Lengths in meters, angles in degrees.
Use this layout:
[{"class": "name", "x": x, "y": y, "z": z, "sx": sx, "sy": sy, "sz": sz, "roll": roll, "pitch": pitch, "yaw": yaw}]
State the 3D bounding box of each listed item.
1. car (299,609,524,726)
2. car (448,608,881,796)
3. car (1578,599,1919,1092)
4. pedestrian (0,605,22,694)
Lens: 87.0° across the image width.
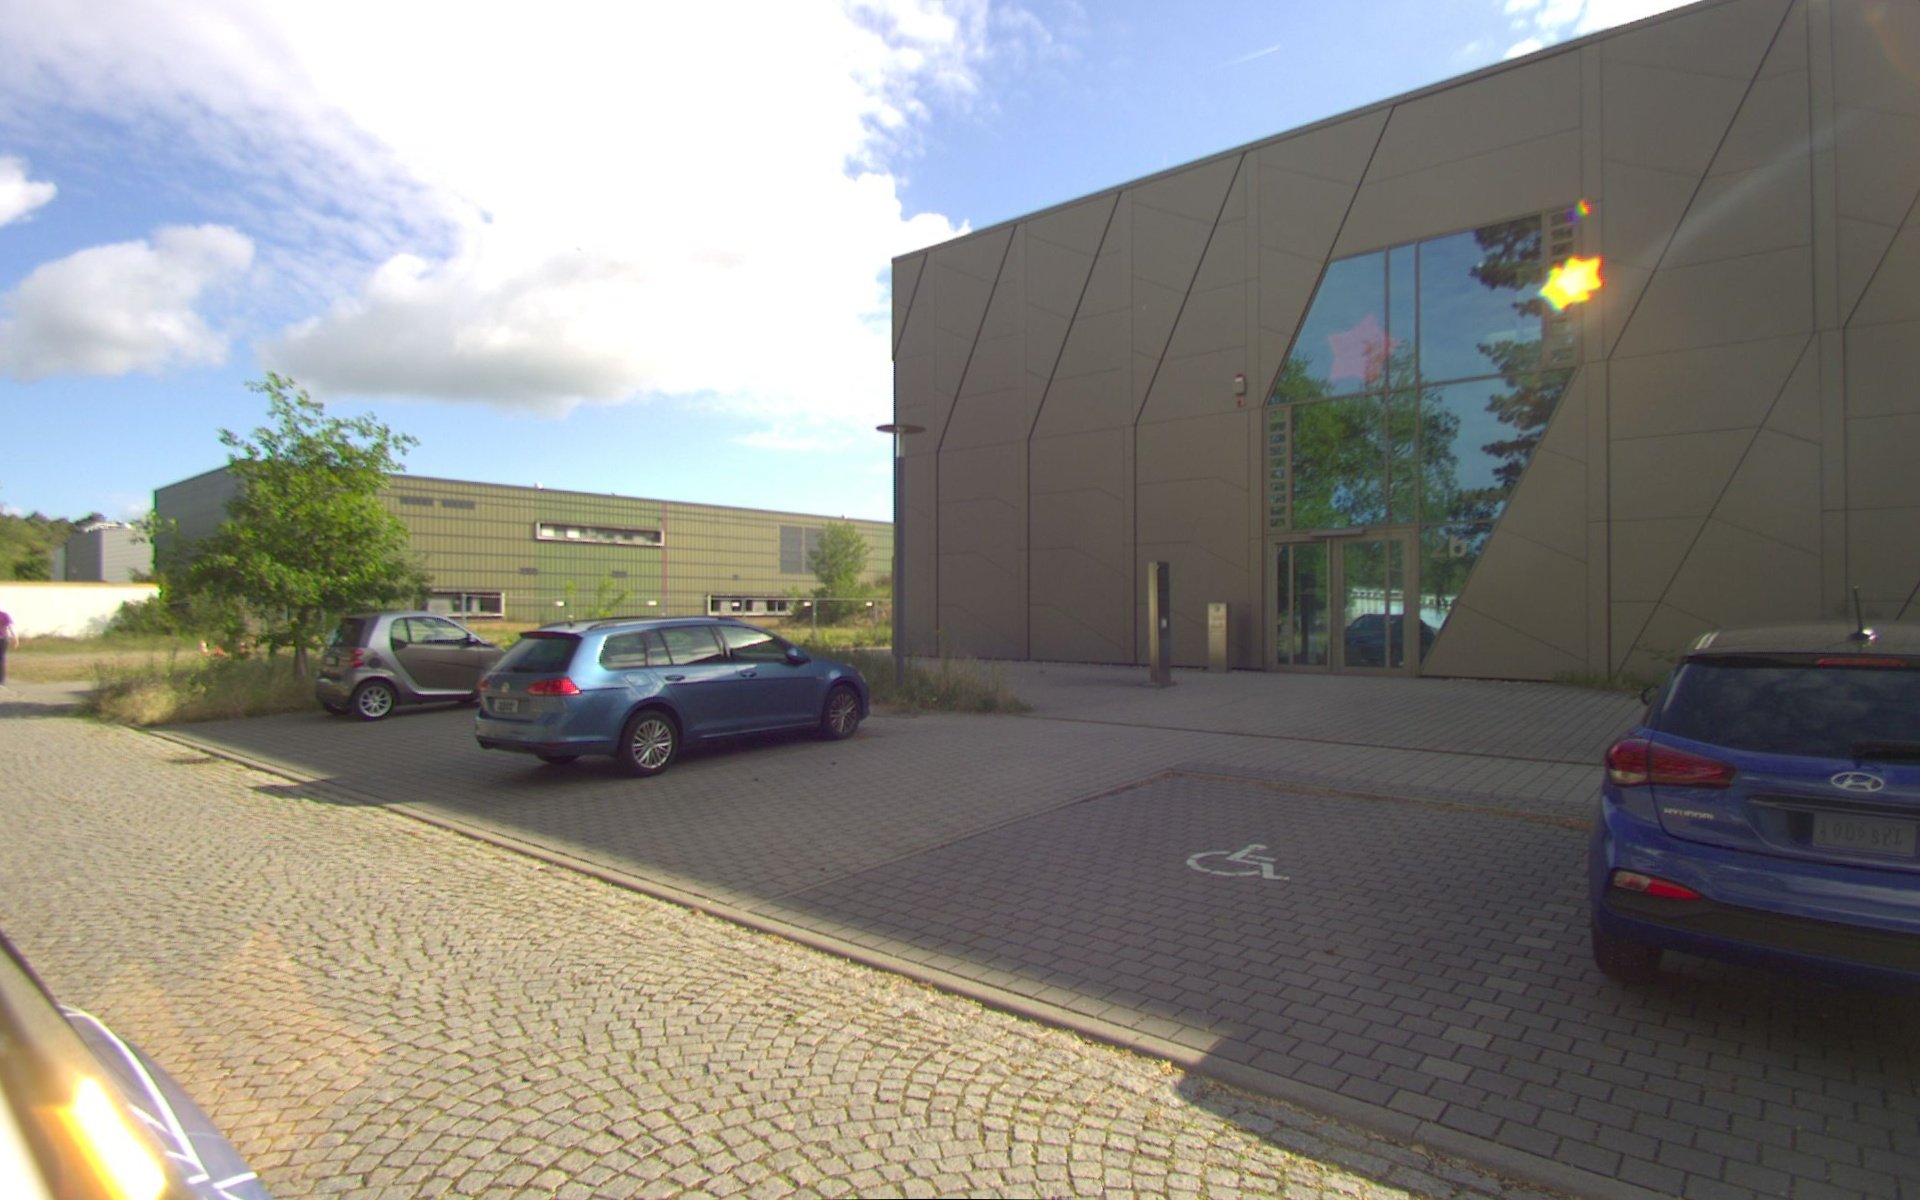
[{"class": "car", "x": -8.415, "y": 0.955, "z": 15.628, "sx": 1.517, "sy": 1.554, "sz": 2.672, "roll": -1, "pitch": 1, "yaw": 39}, {"class": "car", "x": -2.890, "y": 0.891, "z": 10.735, "sx": 1.678, "sy": 1.475, "sz": 4.216, "roll": -1, "pitch": 0, "yaw": 38}, {"class": "car", "x": 4.244, "y": 0.772, "z": 4.611, "sx": 1.720, "sy": 1.475, "sz": 3.794, "roll": -1, "pitch": 1, "yaw": 43}, {"class": "pedestrian", "x": -19.815, "y": 0.993, "z": 20.640, "sx": 1.151, "sy": 1.785, "sz": 0.797, "roll": -1, "pitch": -1, "yaw": 36}]
